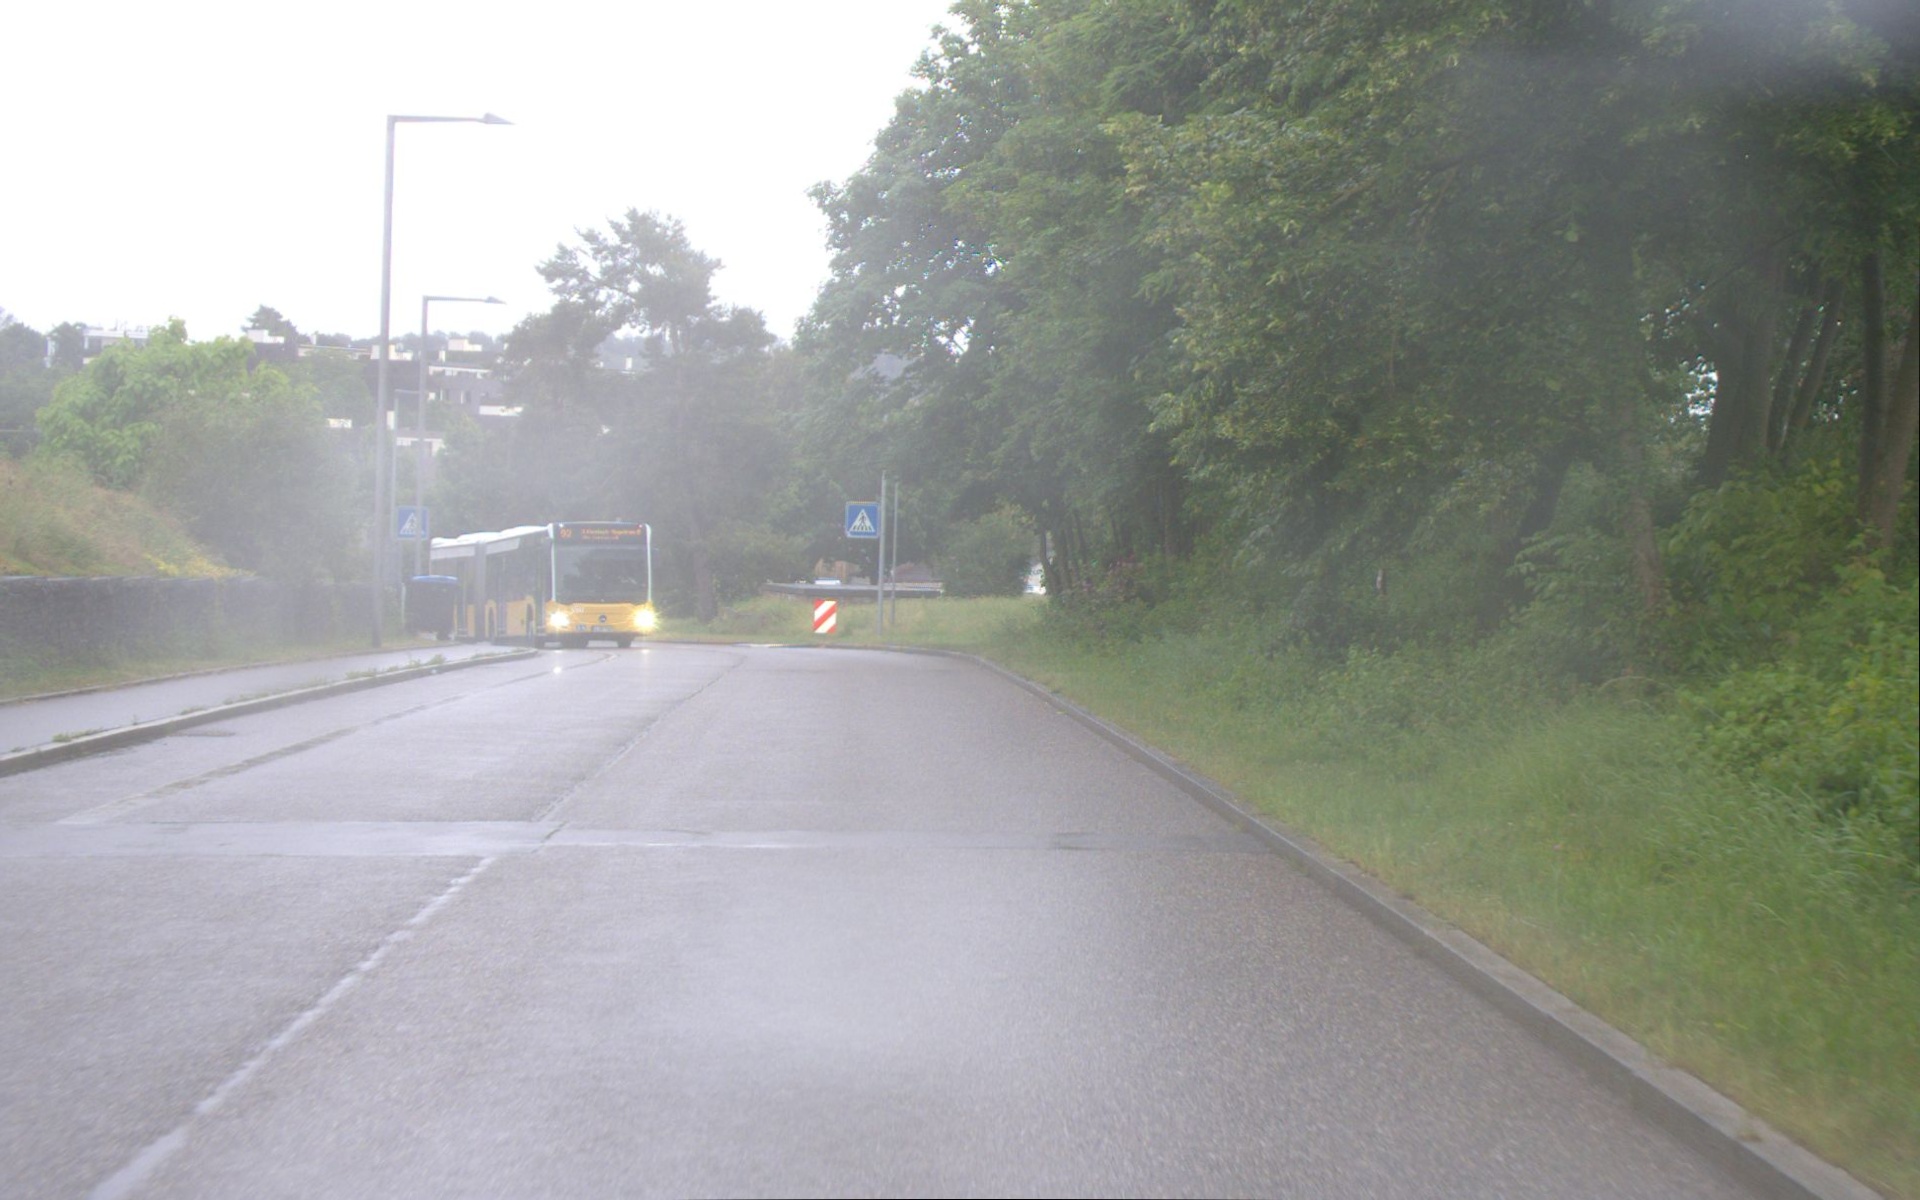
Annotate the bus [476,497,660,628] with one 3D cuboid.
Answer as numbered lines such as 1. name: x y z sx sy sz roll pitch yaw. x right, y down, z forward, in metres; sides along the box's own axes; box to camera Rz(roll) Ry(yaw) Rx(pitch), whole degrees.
1. bus: -9.932 -0.879 85.964 2.639 3.057 10.858 0 0 -17

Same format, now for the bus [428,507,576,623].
1. bus: -12.698 -0.929 94.792 2.639 3.022 7.668 1 0 -18

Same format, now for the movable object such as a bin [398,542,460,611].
1. movable object such as a bin: -11.061 -0.490 71.583 1.131 1.335 1.399 4 0 -11
